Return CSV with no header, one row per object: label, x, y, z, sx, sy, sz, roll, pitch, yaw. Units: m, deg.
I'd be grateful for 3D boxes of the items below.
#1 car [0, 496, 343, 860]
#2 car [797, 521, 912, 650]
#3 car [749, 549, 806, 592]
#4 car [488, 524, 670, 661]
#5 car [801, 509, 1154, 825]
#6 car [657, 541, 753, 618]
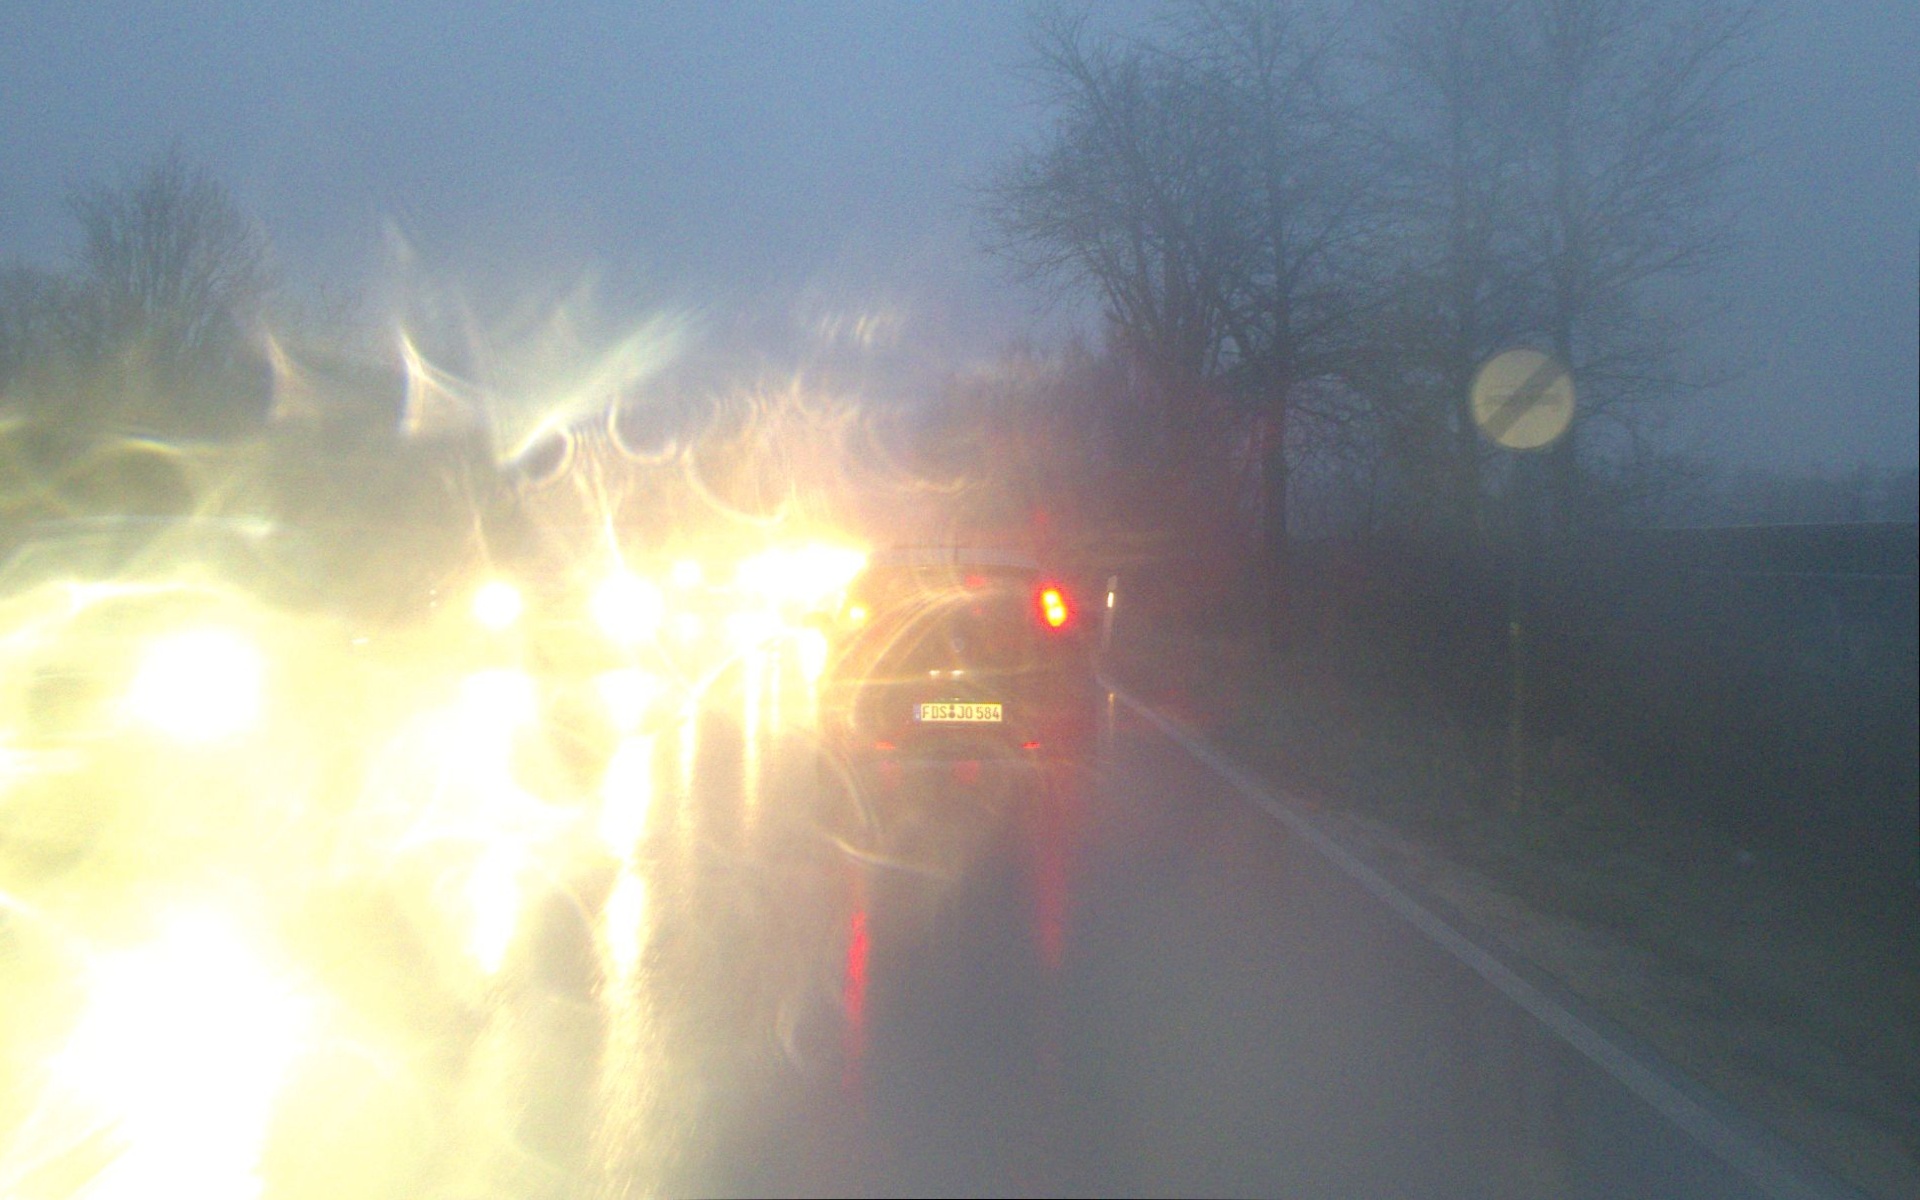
car,-4.314,0.322,17.543,1.752,1.641,4.050,0,1,-2
car,-1.570,-0.246,52.264,1.574,1.868,3.709,1,1,1
car,-6.285,-1.028,118.632,1.817,1.436,3.456,1,1,-1
car,-4.647,-0.124,42.474,1.779,1.590,4.693,0,1,-1
car,0.118,0.354,21.719,1.993,1.778,4.000,1,1,1
car,-5.631,-0.472,76.341,1.922,1.648,4.105,0,1,-2
